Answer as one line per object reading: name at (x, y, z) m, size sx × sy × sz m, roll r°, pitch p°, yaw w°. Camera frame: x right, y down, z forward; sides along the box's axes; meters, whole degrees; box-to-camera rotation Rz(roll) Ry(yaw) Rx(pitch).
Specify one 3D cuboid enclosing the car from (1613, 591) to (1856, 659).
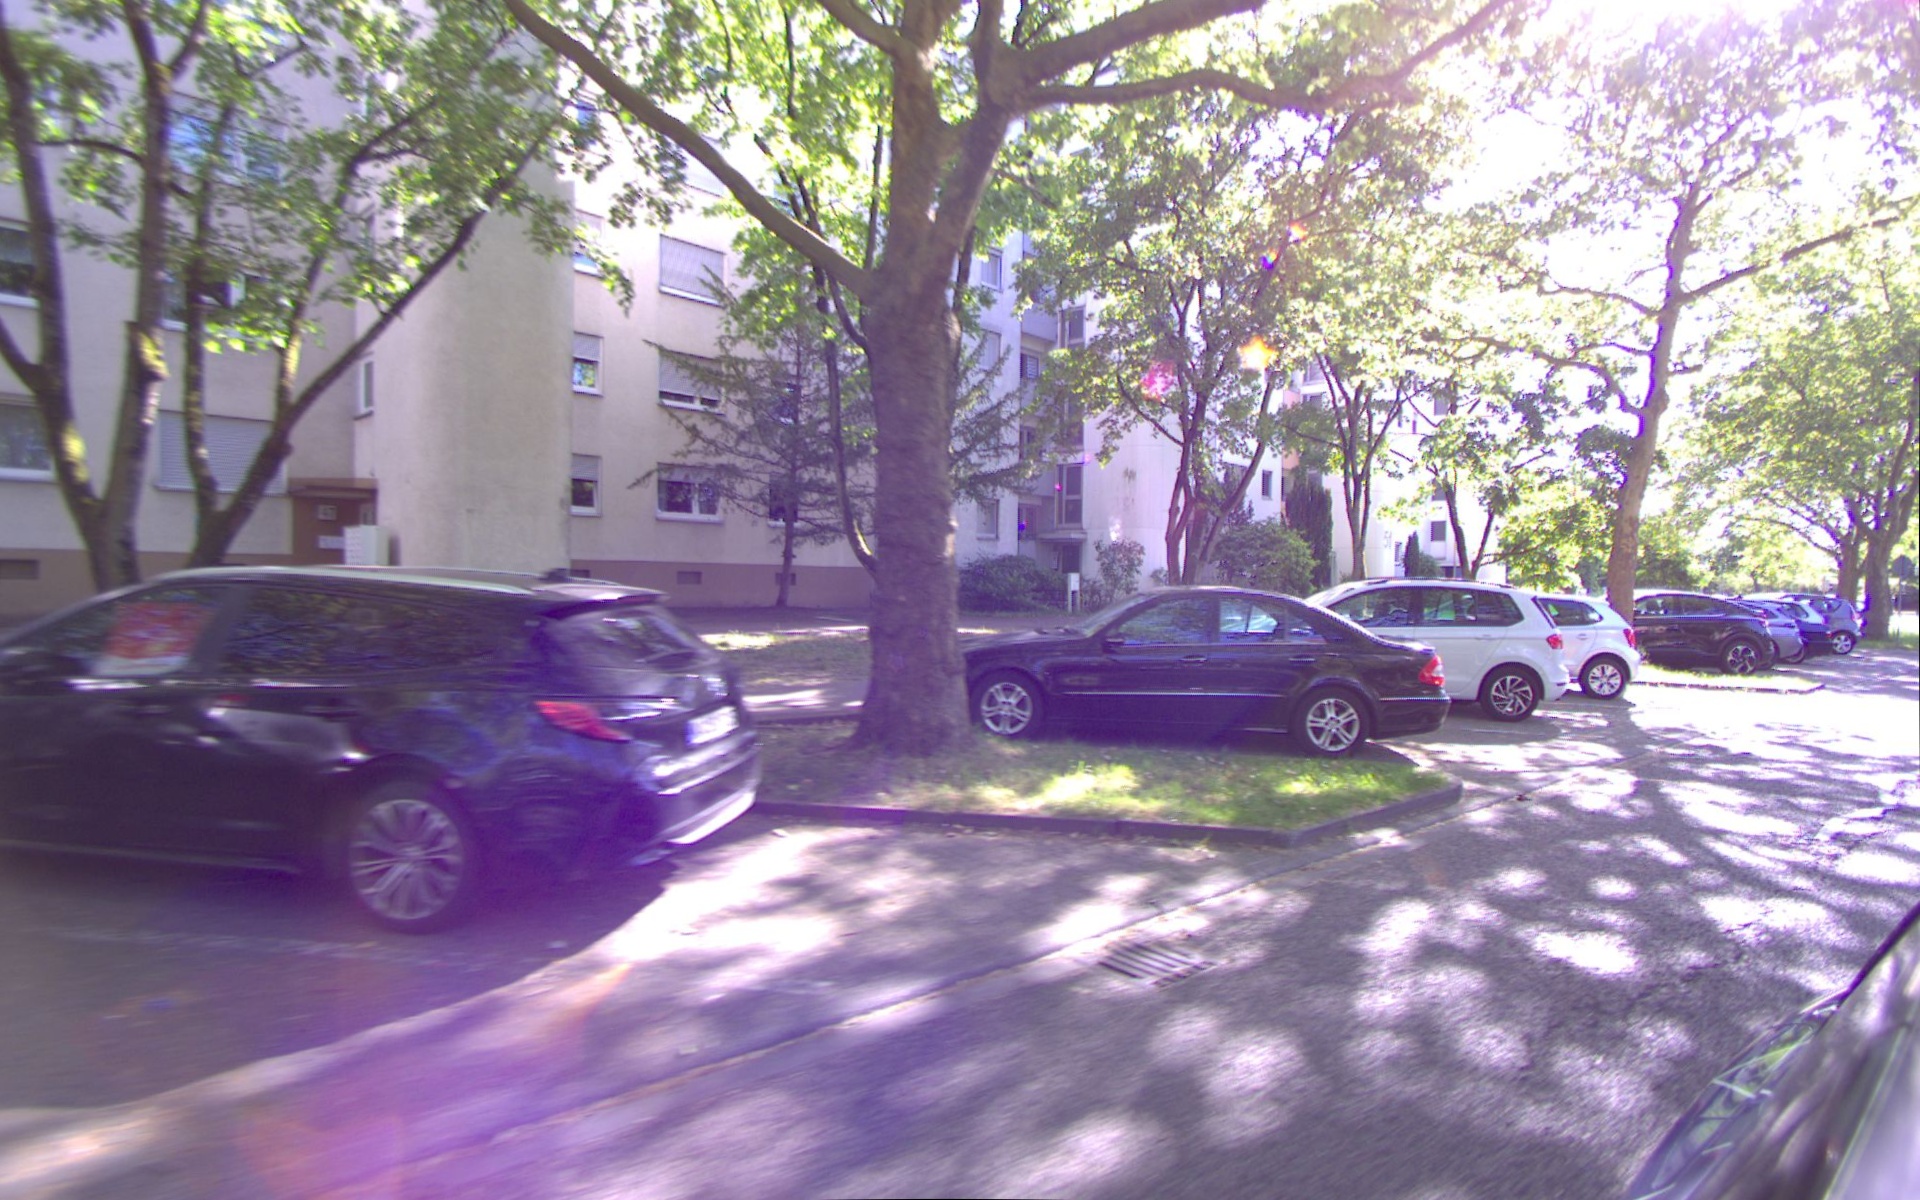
car at (17.970, 0.543, 23.670) m, size 4.079 × 1.334 × 1.796 m, roll 2°, pitch 2°, yaw 9°

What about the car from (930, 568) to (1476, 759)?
car at (2.063, 0.490, 9.473) m, size 4.508 × 1.440 × 1.799 m, roll 2°, pitch 2°, yaw 4°

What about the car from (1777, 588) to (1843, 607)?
car at (72.399, -0.215, 86.285) m, size 1.762 × 1.529 × 4.009 m, roll -1°, pitch 2°, yaw -13°

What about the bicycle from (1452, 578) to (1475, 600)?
bicycle at (26.945, -0.589, 54.148) m, size 0.499 × 1.120 × 1.772 m, roll 8°, pitch 5°, yaw 42°

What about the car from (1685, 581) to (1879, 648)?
car at (22.573, 0.361, 27.935) m, size 3.665 × 1.612 × 1.796 m, roll 2°, pitch 2°, yaw 9°

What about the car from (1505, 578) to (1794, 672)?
car at (12.903, 0.426, 19.143) m, size 4.101 × 1.529 × 1.799 m, roll 2°, pitch 2°, yaw 3°

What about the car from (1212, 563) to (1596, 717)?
car at (5.257, 0.414, 12.503) m, size 3.934 × 1.595 × 1.796 m, roll 2°, pitch 2°, yaw 9°

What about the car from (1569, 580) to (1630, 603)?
car at (63.678, -0.886, 100.937) m, size 2.048 × 2.112 × 5.205 m, roll -1°, pitch 2°, yaw -13°

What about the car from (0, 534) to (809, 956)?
car at (-3.156, 0.463, 5.098) m, size 4.338 × 1.445 × 1.947 m, roll 3°, pitch 3°, yaw 10°

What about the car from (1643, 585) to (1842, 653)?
car at (19.909, 0.438, 25.896) m, size 3.523 × 1.510 × 1.797 m, roll 2°, pitch 2°, yaw 8°

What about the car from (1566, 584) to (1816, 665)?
car at (15.273, 0.472, 21.335) m, size 3.820 × 1.463 × 1.798 m, roll 2°, pitch 2°, yaw 6°

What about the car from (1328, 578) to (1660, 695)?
car at (7.802, 0.476, 15.156) m, size 3.933 × 1.462 × 1.796 m, roll 2°, pitch 2°, yaw 8°
